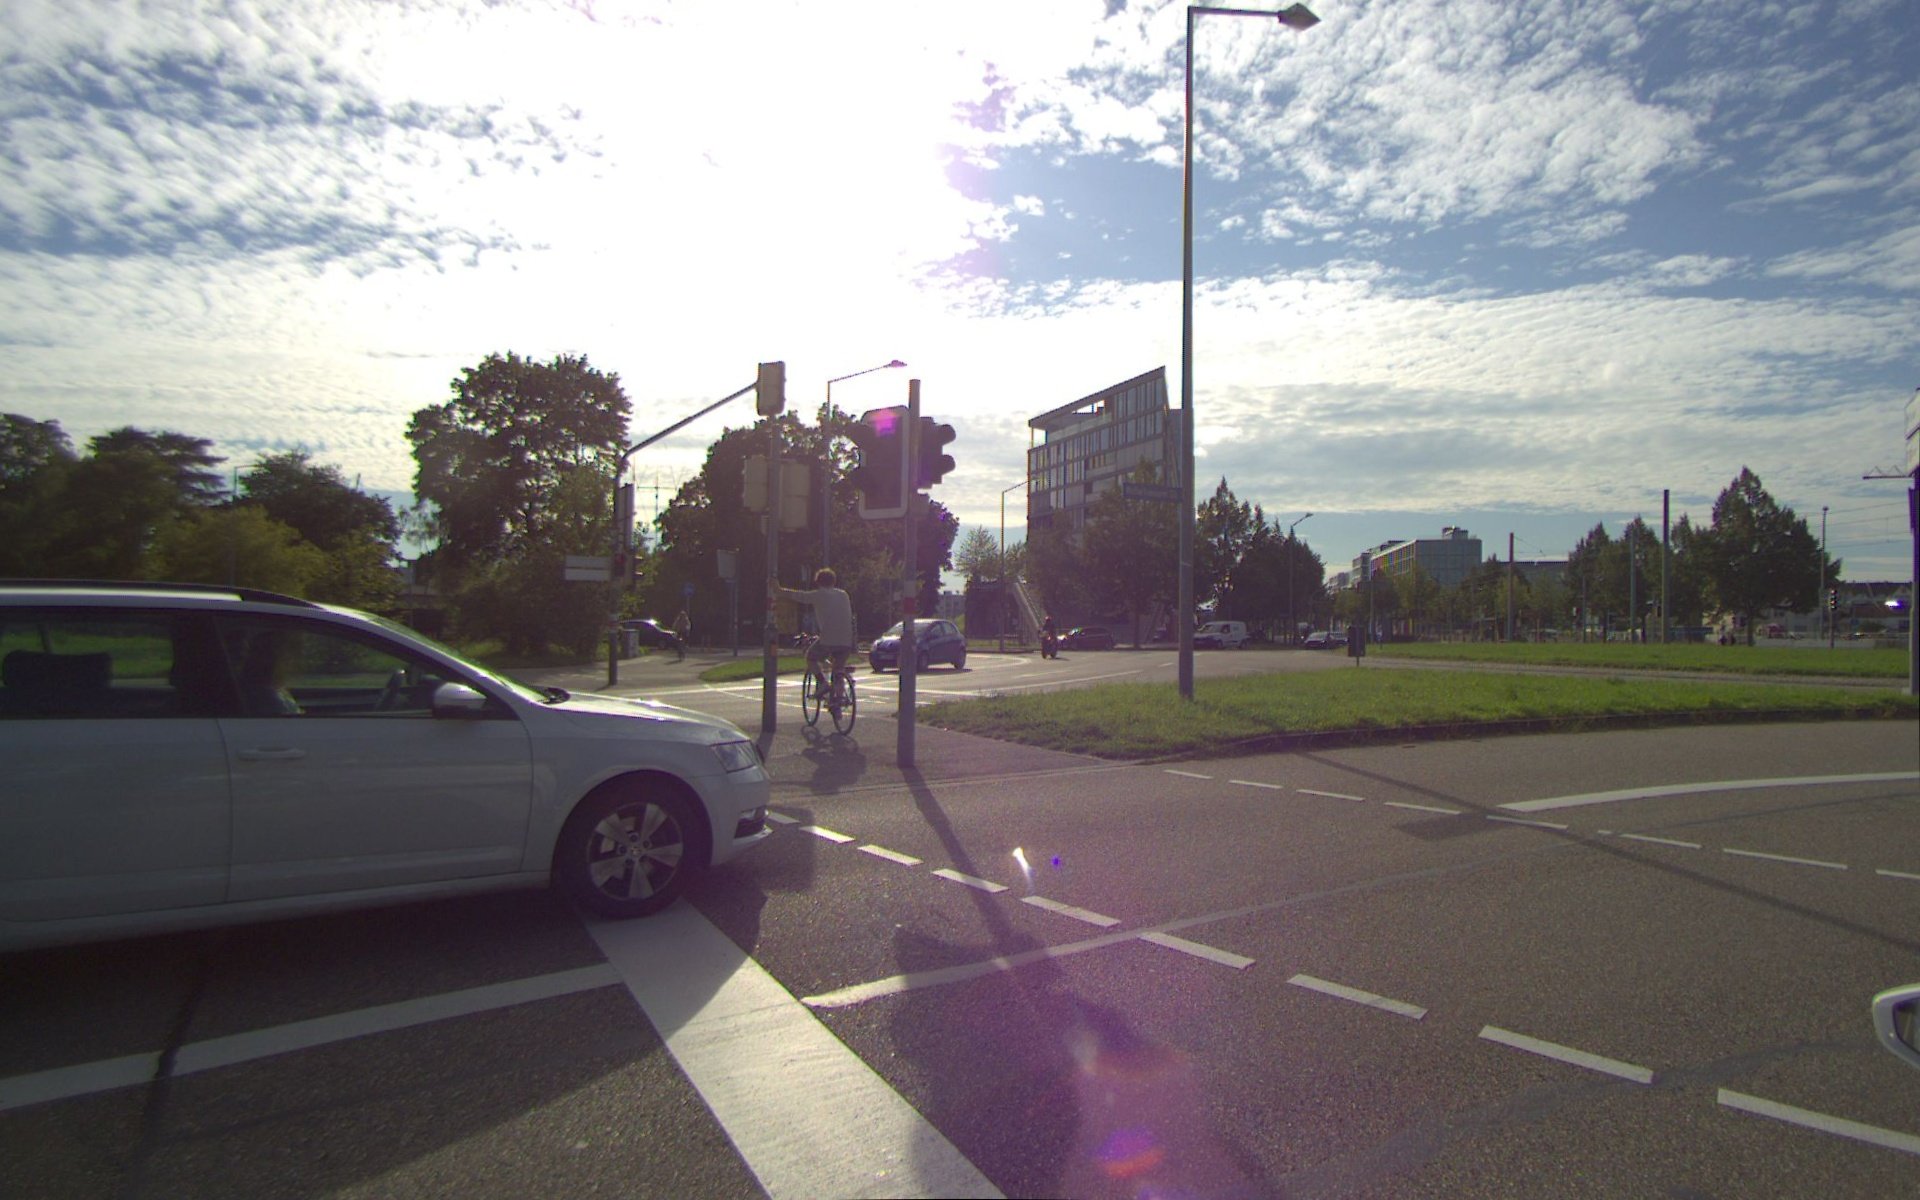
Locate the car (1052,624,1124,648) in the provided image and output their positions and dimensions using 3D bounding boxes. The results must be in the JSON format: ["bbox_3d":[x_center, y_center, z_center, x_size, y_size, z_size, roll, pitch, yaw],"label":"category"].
[{"bbox_3d":[7.622,2.134,59.813,3.937,1.439,1.762,1,-1,-19],"label":"car"}]

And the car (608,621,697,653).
[{"bbox_3d":[-15.373,1.829,50.356,3.913,1.521,1.687,0,-1,10],"label":"car"}]

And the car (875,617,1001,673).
[{"bbox_3d":[-0.597,1.340,29.827,1.754,1.521,3.982,-3,-3,34],"label":"car"}]

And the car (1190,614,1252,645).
[{"bbox_3d":[16.544,1.891,63.529,4.530,1.848,1.664,2,-4,-43],"label":"car"}]

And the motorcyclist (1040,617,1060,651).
[{"bbox_3d":[3.689,1.390,41.084,0.768,1.384,0.944,0,-1,6],"label":"motorcyclist"}]

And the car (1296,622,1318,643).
[{"bbox_3d":[39.891,3.792,115.488,2.026,2.293,6.023,-2,-3,22],"label":"car"}]

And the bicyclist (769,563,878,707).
[{"bbox_3d":[-1.576,0.397,11.576,0.986,1.576,0.859,1,-1,-31],"label":"bicyclist"}]

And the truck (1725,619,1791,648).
[{"bbox_3d":[94.048,3.888,118.512,2.759,3.249,7.321,1,-1,9],"label":"truck"}]

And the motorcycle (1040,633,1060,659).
[{"bbox_3d":[3.688,1.862,41.147,0.769,0.999,2.025,0,-1,4],"label":"motorcycle"}]

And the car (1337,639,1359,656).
[{"bbox_3d":[35.291,4.295,91.307,1.652,1.521,3.995,-2,-3,19],"label":"car"}]

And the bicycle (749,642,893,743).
[{"bbox_3d":[-1.654,1.019,11.677,0.990,1.020,1.945,1,-1,-30],"label":"bicycle"}]

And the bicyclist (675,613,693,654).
[{"bbox_3d":[-10.160,1.225,36.994,0.601,1.465,0.695,1,-1,-18],"label":"bicyclist"}]

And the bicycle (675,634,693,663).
[{"bbox_3d":[-10.165,1.757,36.958,0.601,1.001,1.831,1,-1,-16],"label":"bicycle"}]

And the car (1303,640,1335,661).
[{"bbox_3d":[27.019,3.796,75.585,1.655,1.521,3.988,-2,-3,29],"label":"car"}]

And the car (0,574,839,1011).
[{"bbox_3d":[-3.032,0.659,4.572,4.588,1.464,1.840,2,0,-33],"label":"car"}]

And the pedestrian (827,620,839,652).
[{"bbox_3d":[-6.588,1.850,51.925,0.496,1.646,0.548,0,-1,4],"label":"pedestrian"}]
